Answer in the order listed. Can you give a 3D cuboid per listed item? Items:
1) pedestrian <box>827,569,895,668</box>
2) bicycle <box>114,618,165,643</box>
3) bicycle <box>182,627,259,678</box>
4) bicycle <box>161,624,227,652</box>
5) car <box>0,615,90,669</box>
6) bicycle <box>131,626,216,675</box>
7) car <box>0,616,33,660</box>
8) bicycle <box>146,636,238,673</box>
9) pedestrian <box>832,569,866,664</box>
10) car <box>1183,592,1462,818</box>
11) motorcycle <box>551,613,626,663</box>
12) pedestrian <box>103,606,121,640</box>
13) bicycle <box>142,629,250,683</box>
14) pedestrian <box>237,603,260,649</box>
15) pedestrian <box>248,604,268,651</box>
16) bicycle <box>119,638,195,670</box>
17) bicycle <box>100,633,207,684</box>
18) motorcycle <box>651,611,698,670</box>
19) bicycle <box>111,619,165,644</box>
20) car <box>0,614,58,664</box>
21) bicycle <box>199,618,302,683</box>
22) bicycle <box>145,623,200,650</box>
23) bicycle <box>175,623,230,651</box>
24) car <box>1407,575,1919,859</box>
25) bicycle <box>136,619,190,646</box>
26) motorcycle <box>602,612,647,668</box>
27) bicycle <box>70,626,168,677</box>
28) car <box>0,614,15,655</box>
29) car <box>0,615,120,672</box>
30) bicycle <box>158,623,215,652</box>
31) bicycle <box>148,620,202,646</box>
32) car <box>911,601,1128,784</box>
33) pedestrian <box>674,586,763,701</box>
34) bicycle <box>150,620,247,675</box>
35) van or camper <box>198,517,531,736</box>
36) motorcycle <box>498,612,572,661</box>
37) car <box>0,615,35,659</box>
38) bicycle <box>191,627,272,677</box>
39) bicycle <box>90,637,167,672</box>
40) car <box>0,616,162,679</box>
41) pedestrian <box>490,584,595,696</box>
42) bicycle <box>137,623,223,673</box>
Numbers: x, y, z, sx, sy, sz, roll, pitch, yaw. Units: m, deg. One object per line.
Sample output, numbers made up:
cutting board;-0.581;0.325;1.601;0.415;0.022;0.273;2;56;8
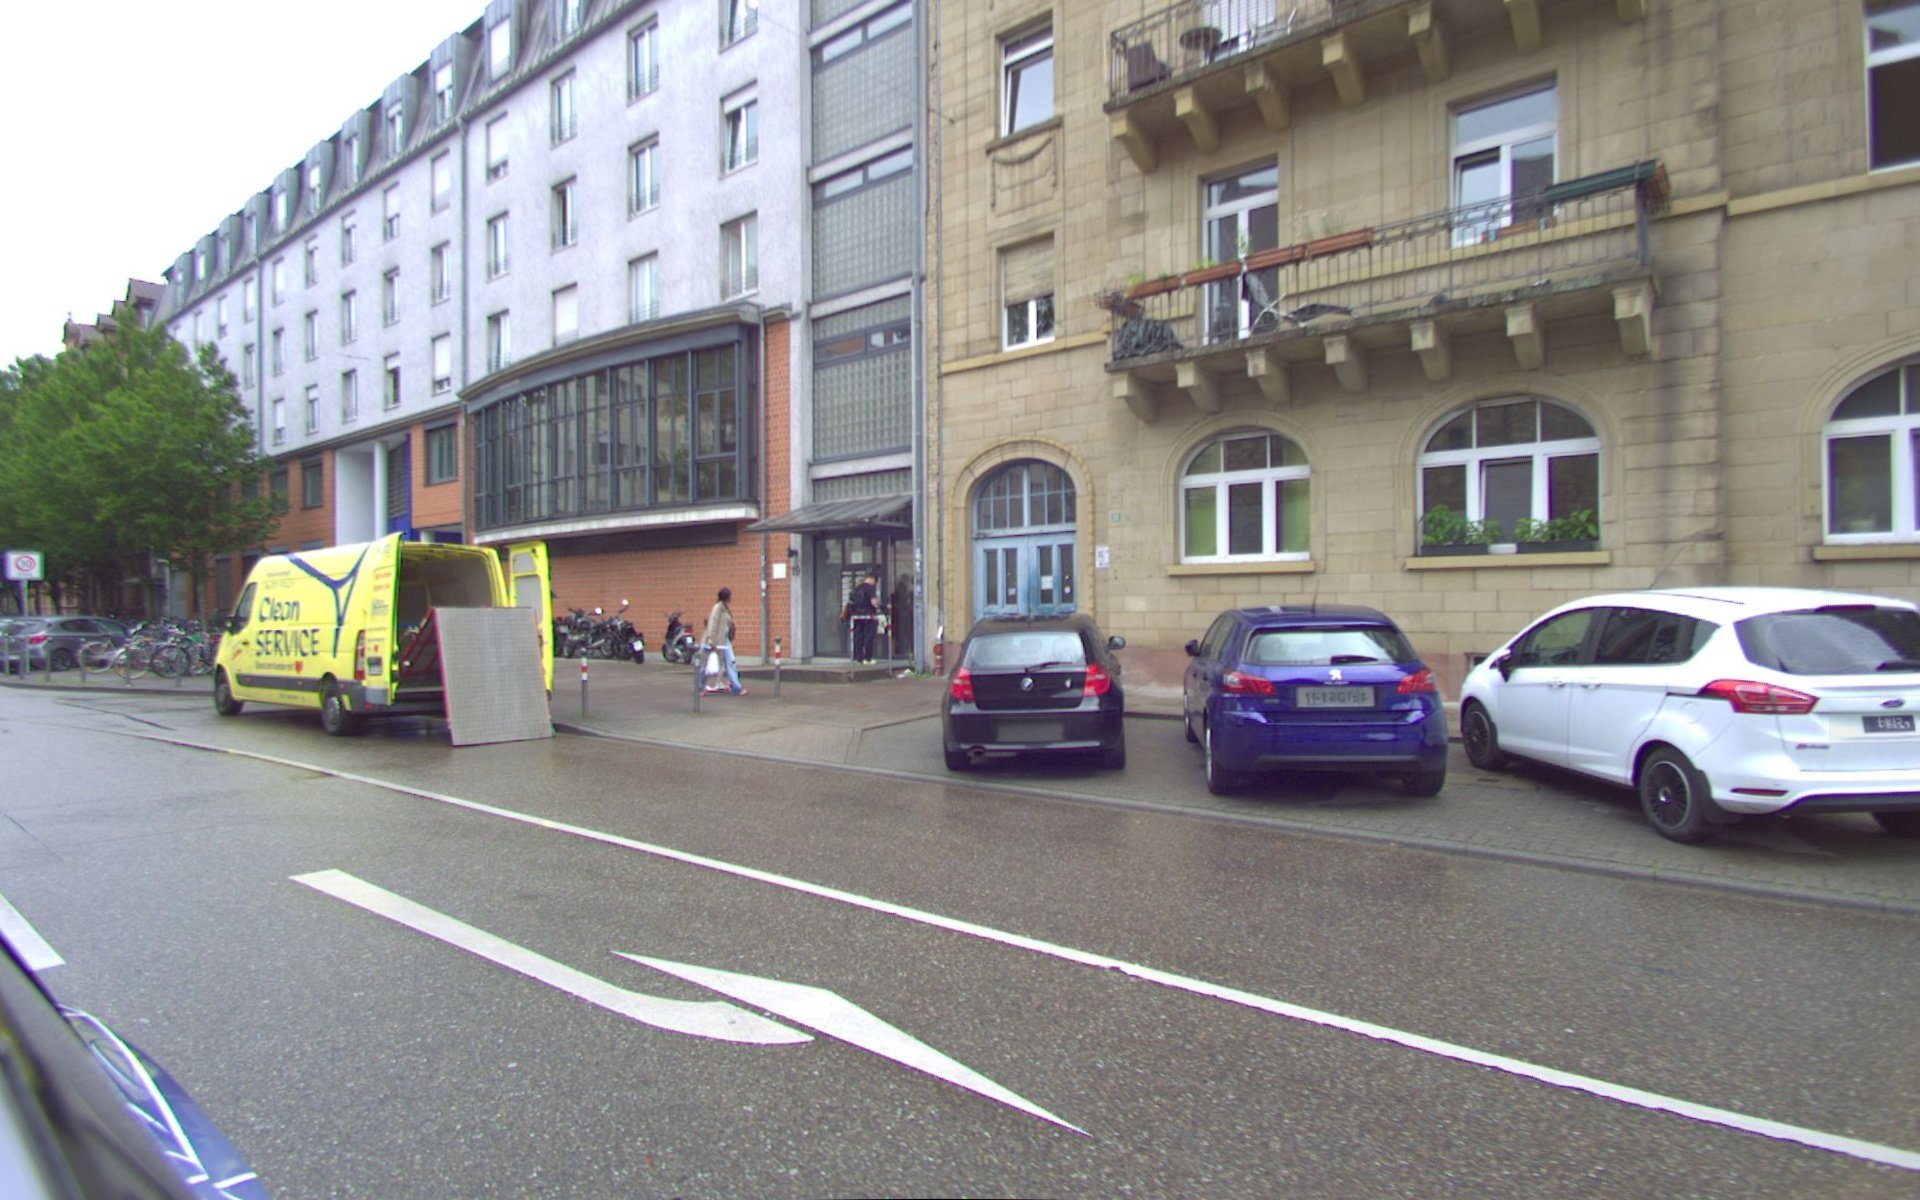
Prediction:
pedestrian;-1.798;0.331;18.462;0.785;1.741;0.998;-1;-1;31
bicycle;-33.942;1.247;41.875;0.463;0.992;1.573;-1;-1;31
bicycle;-17.297;1.203;23.697;1.439;1.111;0.462;-1;0;-36
bicycle;-27.500;1.348;36.361;0.444;0.992;1.831;-1;-1;31
car;-28.319;1.246;30.594;1.432;1.514;3.079;-1;0;-1
bicycle;-19.584;1.245;25.236;0.519;1.114;1.592;-1;0;35
car;-33.170;1.304;34.320;1.177;1.461;2.502;-1;0;-1
bicycle;-18.530;1.306;24.466;0.454;0.767;1.757;-1;0;26
pedestrian;-2.105;0.307;19.134;0.467;1.761;0.608;1;-2;-24
car;3.020;0.781;9.277;1.779;1.585;4.030;0;-1;11
motorcycle;-8.968;0.898;24.379;2.202;1.165;0.643;-1;0;38
pedestrian;-40.297;1.073;48.106;0.533;1.609;0.564;-1;-1;40
bicycle;-16.821;1.217;22.308;1.832;1.081;0.610;-1;0;-45
pedestrian;-25.367;0.928;36.086;0.595;1.622;0.373;0;-1;-16
pedestrian;-24.543;0.945;35.385;0.506;1.622;0.427;0;-1;-22
bicycle;-20.452;1.372;25.800;0.497;0.727;1.454;-1;1;42
bicycle;-17.803;1.276;22.383;0.519;1.001;1.778;-1;0;37
motorcycle;-6.146;0.843;21.709;0.516;1.190;1.763;-1;0;-31
bicycle;-32.666;1.238;40.232;0.463;0.992;1.573;-1;-1;31
car;-30.748;1.244;32.181;1.432;1.564;3.079;-1;0;-1
bicycle;-15.241;1.051;21.801;0.760;1.225;1.917;0;2;5
bicycle;-29.405;1.347;37.805;0.444;0.992;1.573;-1;-1;31
bicycle;-27.962;1.361;37.401;0.444;0.992;1.573;-1;-1;31
car;5.172;0.683;7.606;1.773;1.567;4.044;0;-1;0
bicycle;-30.708;1.239;39.033;0.463;0.992;1.573;-1;-1;31
motorcycle;-7.538;0.872;22.697;0.516;1.190;2.010;-1;0;-31
bicycle;-20.602;1.242;24.827;0.471;1.114;1.791;-1;1;35
car;-37.177;1.316;37.732;1.138;1.567;2.673;-1;0;11
car;-26.209;1.209;29.057;1.436;1.514;3.071;-1;0;8
bicycle;-27.938;1.347;36.574;0.444;0.992;1.573;-1;-1;31
bicycle;-29.746;1.239;38.370;0.444;0.992;1.573;-1;-1;31
car;0.816;0.813;10.626;1.779;1.523;4.030;0;-1;11
pedestrian;-3.795;0.660;15.910;1.171;1.741;0.777;-1;0;38
bicycle;-18.087;1.100;24.086;0.517;1.203;1.798;-1;0;26
van or camper;-8.883;0.383;14.844;5.934;2.631;2.175;-1;-2;38
motorcycle;-10.833;0.906;25.748;2.272;1.165;0.828;-1;0;41
car;-35.054;1.333;35.974;1.358;1.567;2.971;-1;0;11
bicycle;-16.697;1.177;23.206;0.418;1.072;1.443;-1;0;43
bicycle;-21.171;1.376;25.776;0.497;0.811;1.454;-1;1;42
car;-23.897;1.224;27.265;1.720;1.514;3.614;0;0;8
pedestrian;-7.312;0.665;17.747;1.060;1.859;1.336;-1;0;40
bicycle;-19.069;1.155;24.768;0.517;1.114;1.596;-1;0;26
